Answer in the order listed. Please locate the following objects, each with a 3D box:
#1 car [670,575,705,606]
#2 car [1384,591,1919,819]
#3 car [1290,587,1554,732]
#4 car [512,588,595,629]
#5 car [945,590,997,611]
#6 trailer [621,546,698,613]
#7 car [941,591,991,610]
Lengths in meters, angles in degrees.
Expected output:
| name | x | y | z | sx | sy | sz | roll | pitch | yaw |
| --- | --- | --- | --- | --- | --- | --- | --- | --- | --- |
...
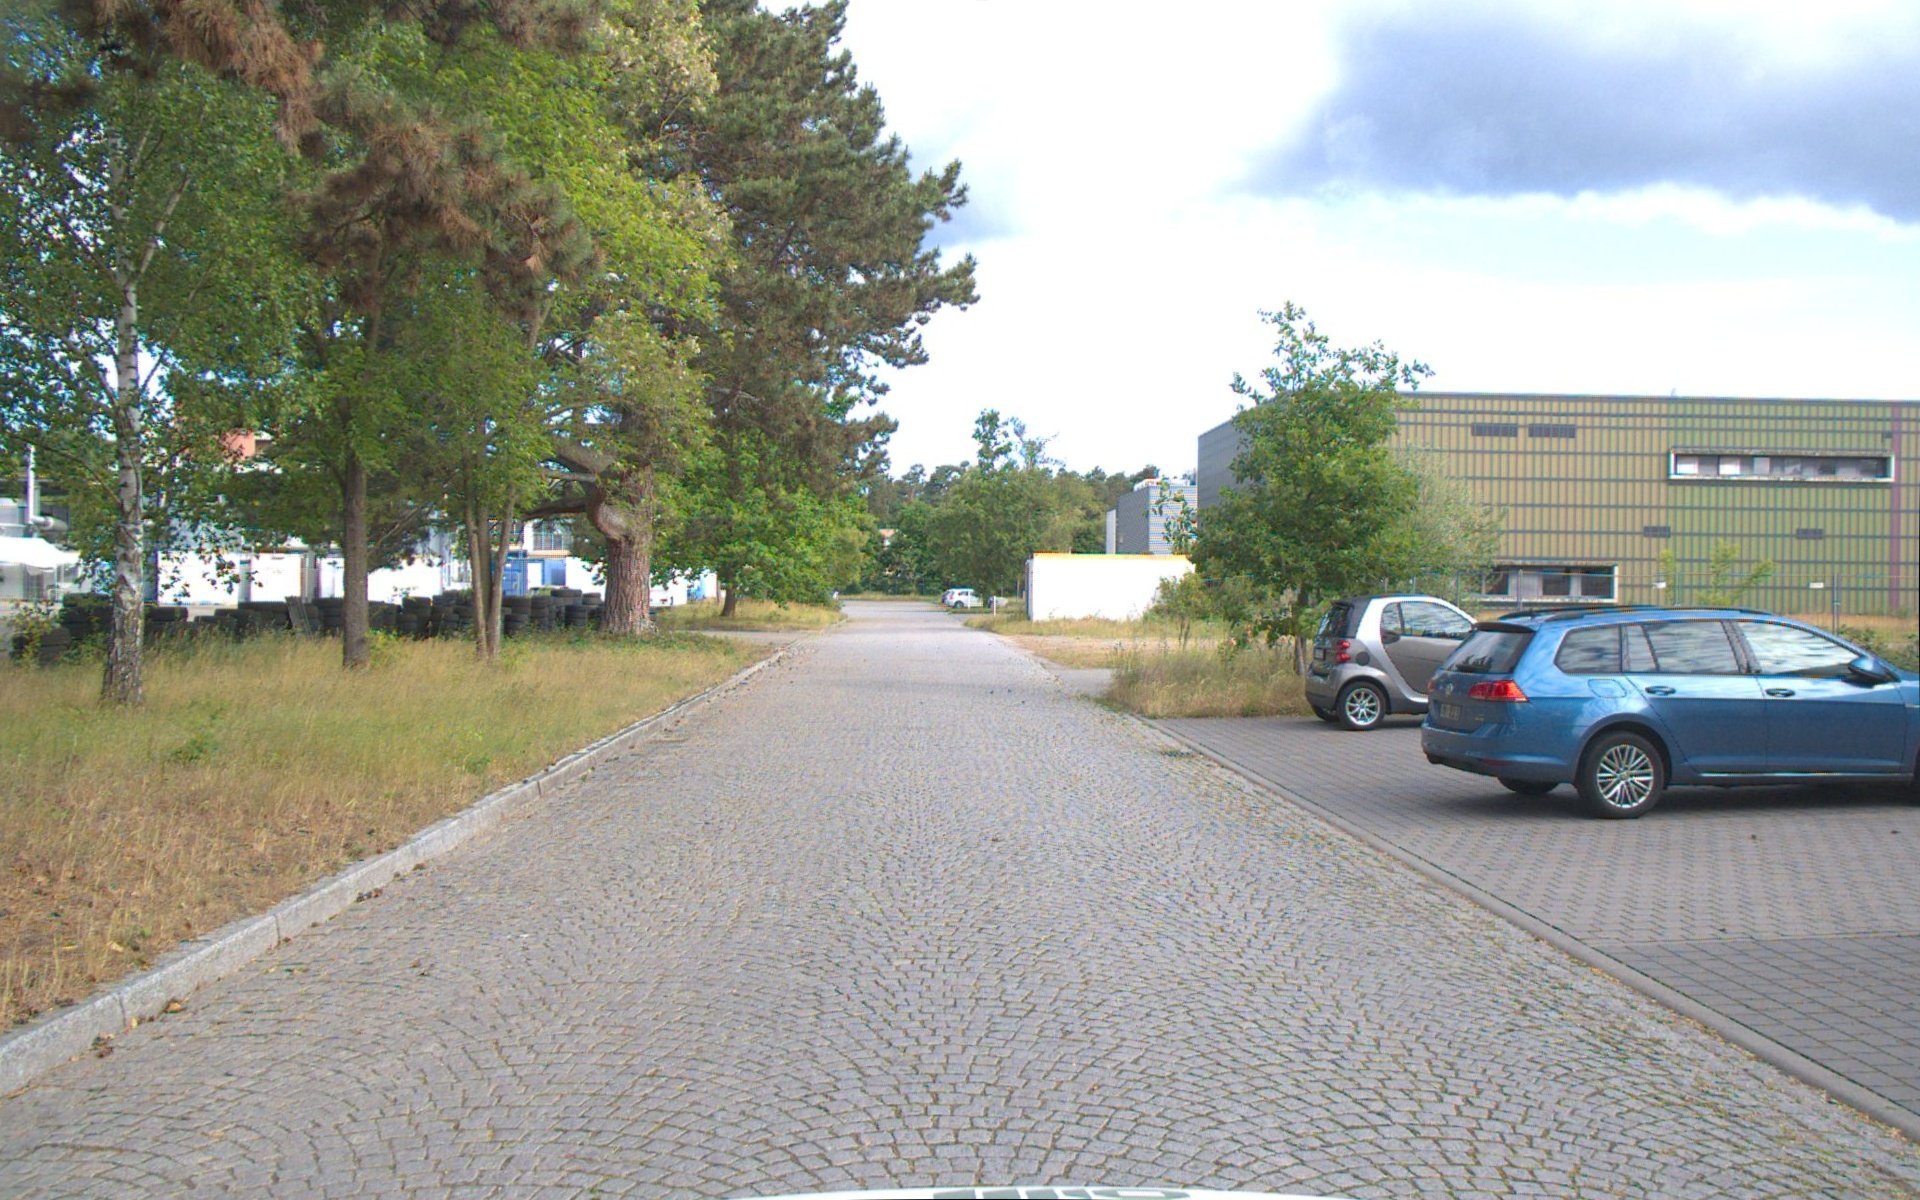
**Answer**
| name | x | y | z | sx | sy | sz | roll | pitch | yaw |
| --- | --- | --- | --- | --- | --- | --- | --- | --- | --- |
| car | -22.811 | -0.801 | 138.643 | 1.952 | 2.567 | 5.618 | 0 | 0 | 1 |
| car | 5.794 | 0.739 | 12.856 | 4.436 | 1.475 | 1.930 | -2 | 0 | -4 |
| car | 5.564 | 0.687 | 20.138 | 2.686 | 1.609 | 1.682 | -2 | 0 | -2 |
| car | -14.937 | 0.288 | 60.996 | 1.785 | 1.457 | 4.221 | 1 | 0 | 4 |
| car | 0.839 | 0.046 | 127.328 | 3.907 | 1.481 | 1.999 | 1 | -1 | -2 |
| trailer | -17.890 | -1.180 | 99.087 | 2.602 | 3.770 | 10.721 | 0 | 0 | 0 |
| car | 0.462 | 0.010 | 129.481 | 3.907 | 1.481 | 1.697 | 0 | 0 | -2 |
